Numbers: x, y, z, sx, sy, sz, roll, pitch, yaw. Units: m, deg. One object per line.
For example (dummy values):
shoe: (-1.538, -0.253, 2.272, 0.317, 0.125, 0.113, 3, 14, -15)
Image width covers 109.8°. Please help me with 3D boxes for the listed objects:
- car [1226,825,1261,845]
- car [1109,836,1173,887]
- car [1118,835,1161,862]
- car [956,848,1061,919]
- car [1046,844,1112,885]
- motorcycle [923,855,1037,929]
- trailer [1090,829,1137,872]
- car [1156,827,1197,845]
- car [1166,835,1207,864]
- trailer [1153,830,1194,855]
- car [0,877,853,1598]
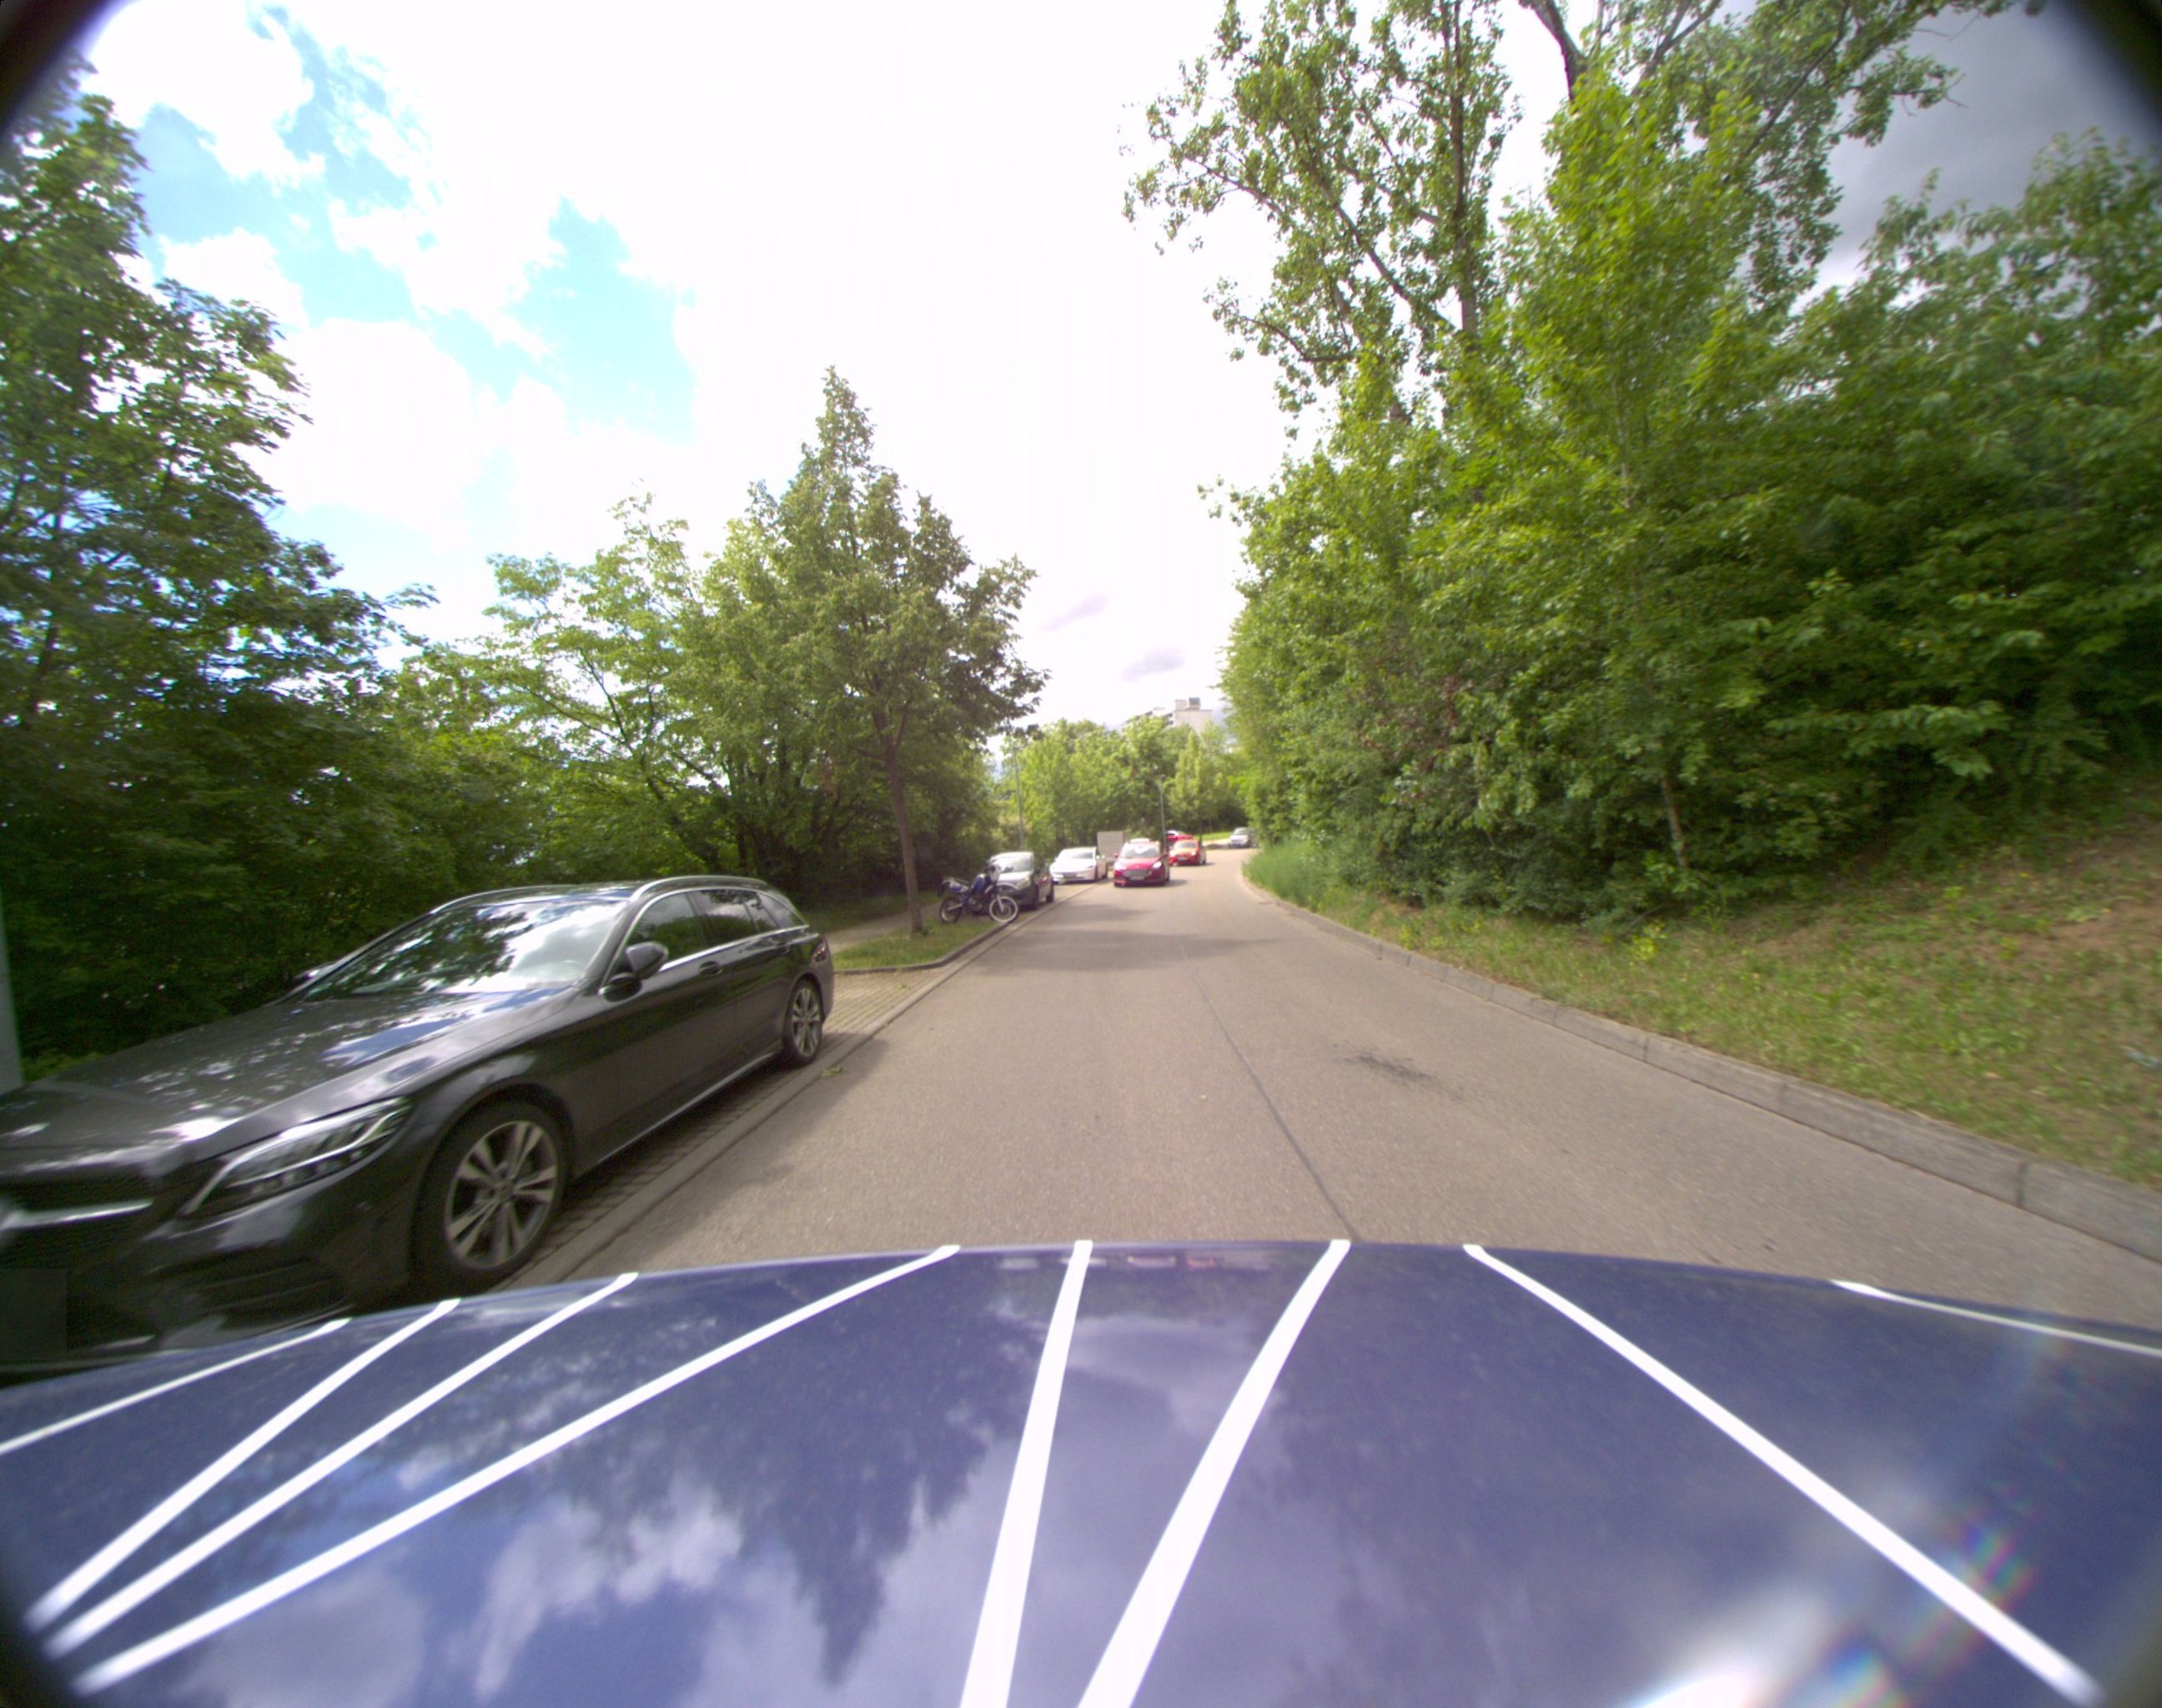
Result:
car: (13.527, -1.598, 63.051, 1.793, 1.500, 4.119, -3, 1, 26)
car: (2.391, 0.218, 29.114, 1.910, 1.689, 4.388, -1, 3, 11)
car: (3.626, -0.368, 46.582, 1.708, 1.469, 3.786, -1, 3, 18)
car: (-1.787, 0.697, 20.248, 1.772, 1.509, 4.108, -3, 2, 8)
car: (0.013, 0.393, 31.873, 1.866, 1.469, 4.904, -2, 1, 10)
motorcycle: (-2.224, 0.797, 16.572, 2.306, 1.467, 0.977, -1, 2, 32)
trailer: (1.763, -0.220, 40.403, 1.733, 2.067, 3.785, -2, 3, 13)
car: (9.092, -1.700, 72.243, 3.478, 1.509, 1.654, -1, 5, 41)
car: (6.058, -0.271, 43.206, 1.794, 1.405, 4.115, -2, 3, 15)
trailer: (6.778, -0.875, 55.200, 1.811, 1.570, 4.494, -1, 3, 22)
car: (-3.006, 1.007, 4.056, 1.897, 1.521, 4.547, -4, 0, 3)
